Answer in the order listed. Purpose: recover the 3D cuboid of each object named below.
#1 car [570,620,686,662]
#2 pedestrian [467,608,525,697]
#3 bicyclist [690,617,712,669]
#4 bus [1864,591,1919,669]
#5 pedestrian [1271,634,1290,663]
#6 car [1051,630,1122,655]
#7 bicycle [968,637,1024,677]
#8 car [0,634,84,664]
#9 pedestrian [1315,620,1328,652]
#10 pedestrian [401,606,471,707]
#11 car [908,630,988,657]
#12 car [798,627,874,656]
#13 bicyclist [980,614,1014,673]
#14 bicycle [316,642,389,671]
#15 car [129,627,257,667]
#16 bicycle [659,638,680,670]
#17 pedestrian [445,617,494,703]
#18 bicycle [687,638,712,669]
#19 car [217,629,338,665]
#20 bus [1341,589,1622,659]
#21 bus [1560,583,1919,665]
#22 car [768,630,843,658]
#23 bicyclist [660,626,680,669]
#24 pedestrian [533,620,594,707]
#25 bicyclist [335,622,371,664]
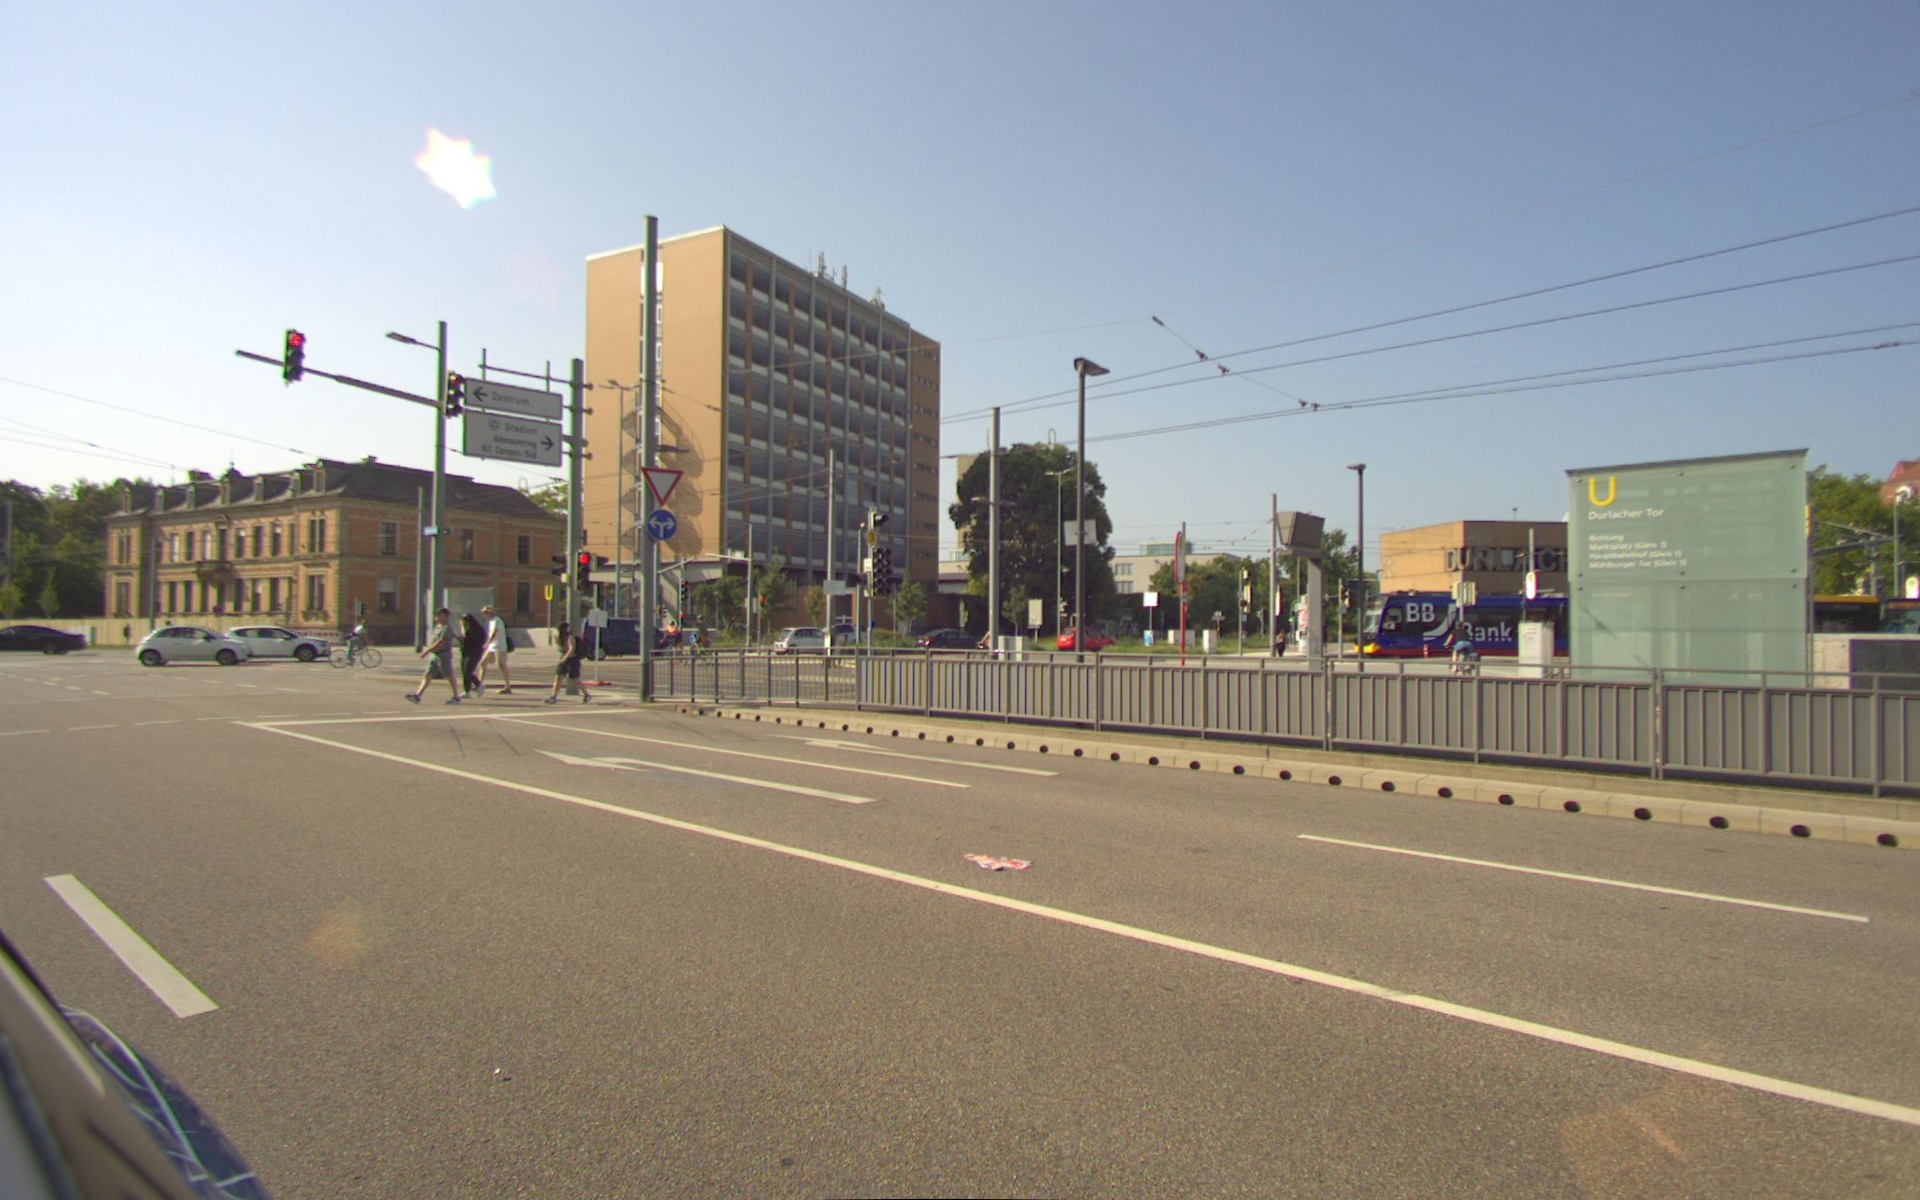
[{"bbox_3d":[-14.905,1.839,45.463,4.690,1.842,1.809,1,-2,-26],"label":"car"},{"bbox_3d":[-9.627,1.100,21.006,0.822,1.802,0.730,5,-5,-41],"label":"pedestrian"},{"bbox_3d":[-10.126,1.671,39.508,0.571,1.989,0.809,1,-3,-35],"label":"bicyclist"},{"bbox_3d":[46.070,1.312,43.218,13.106,3.203,3.230,0,-2,-7],"label":"bus"},{"bbox_3d":[14.146,2.139,44.696,0.549,1.302,0.769,0,-2,-6],"label":"pedestrian"},{"bbox_3d":[7.502,2.487,59.762,3.932,1.426,1.808,2,-3,-33],"label":"car"},{"bbox_3d":[1.041,1.643,29.244,1.745,1.118,0.397,-1,-3,40],"label":"bicycle"},{"bbox_3d":[-46.623,2.451,50.409,4.251,1.476,1.679,1,-4,-30],"label":"car"},{"bbox_3d":[20.367,2.021,56.957,0.551,1.782,0.403,0,-2,-3],"label":"pedestrian"},{"bbox_3d":[-9.106,0.985,17.607,0.651,1.706,0.805,-1,-5,41],"label":"pedestrian"},{"bbox_3d":[-0.695,2.516,58.674,4.276,1.463,1.809,1,-3,-30],"label":"car"},{"bbox_3d":[-7.687,2.595,62.836,4.217,1.720,1.957,2,-5,-33],"label":"car"},{"bbox_3d":[1.066,1.258,29.247,0.790,1.669,0.581,-2,-3,41],"label":"bicyclist"},{"bbox_3d":[-21.689,2.020,36.190,2.159,0.997,0.531,2,-2,-25],"label":"bicycle"},{"bbox_3d":[-28.666,1.757,37.965,3.553,1.426,1.809,1,-2,-29],"label":"car"},{"bbox_3d":[-11.103,2.050,38.685,0.306,1.174,1.503,1,-3,-34],"label":"bicycle"},{"bbox_3d":[-9.340,1.140,19.279,0.467,1.610,0.626,-1,-5,39],"label":"pedestrian"},{"bbox_3d":[-10.224,2.087,39.660,0.371,1.174,1.864,1,-3,-34],"label":"bicycle"},{"bbox_3d":[-28.128,1.931,41.868,3.931,1.426,1.809,1,-2,-28],"label":"car"},{"bbox_3d":[26.693,1.287,52.116,13.111,3.445,3.229,0,-2,-5],"label":"bus"},{"bbox_3d":[31.925,1.035,41.671,13.107,3.203,3.230,0,-2,-7],"label":"bus"},{"bbox_3d":[-8.149,2.309,53.416,3.495,1.446,1.809,1,-3,-30],"label":"car"},{"bbox_3d":[-11.072,1.804,38.594,0.503,1.642,0.809,1,-3,-35],"label":"bicyclist"},{"bbox_3d":[-7.250,1.163,18.524,0.548,1.560,0.799,-1,-5,42],"label":"pedestrian"},{"bbox_3d":[-21.687,1.527,36.156,0.955,1.486,1.091,2,-2,-25],"label":"bicyclist"}]
